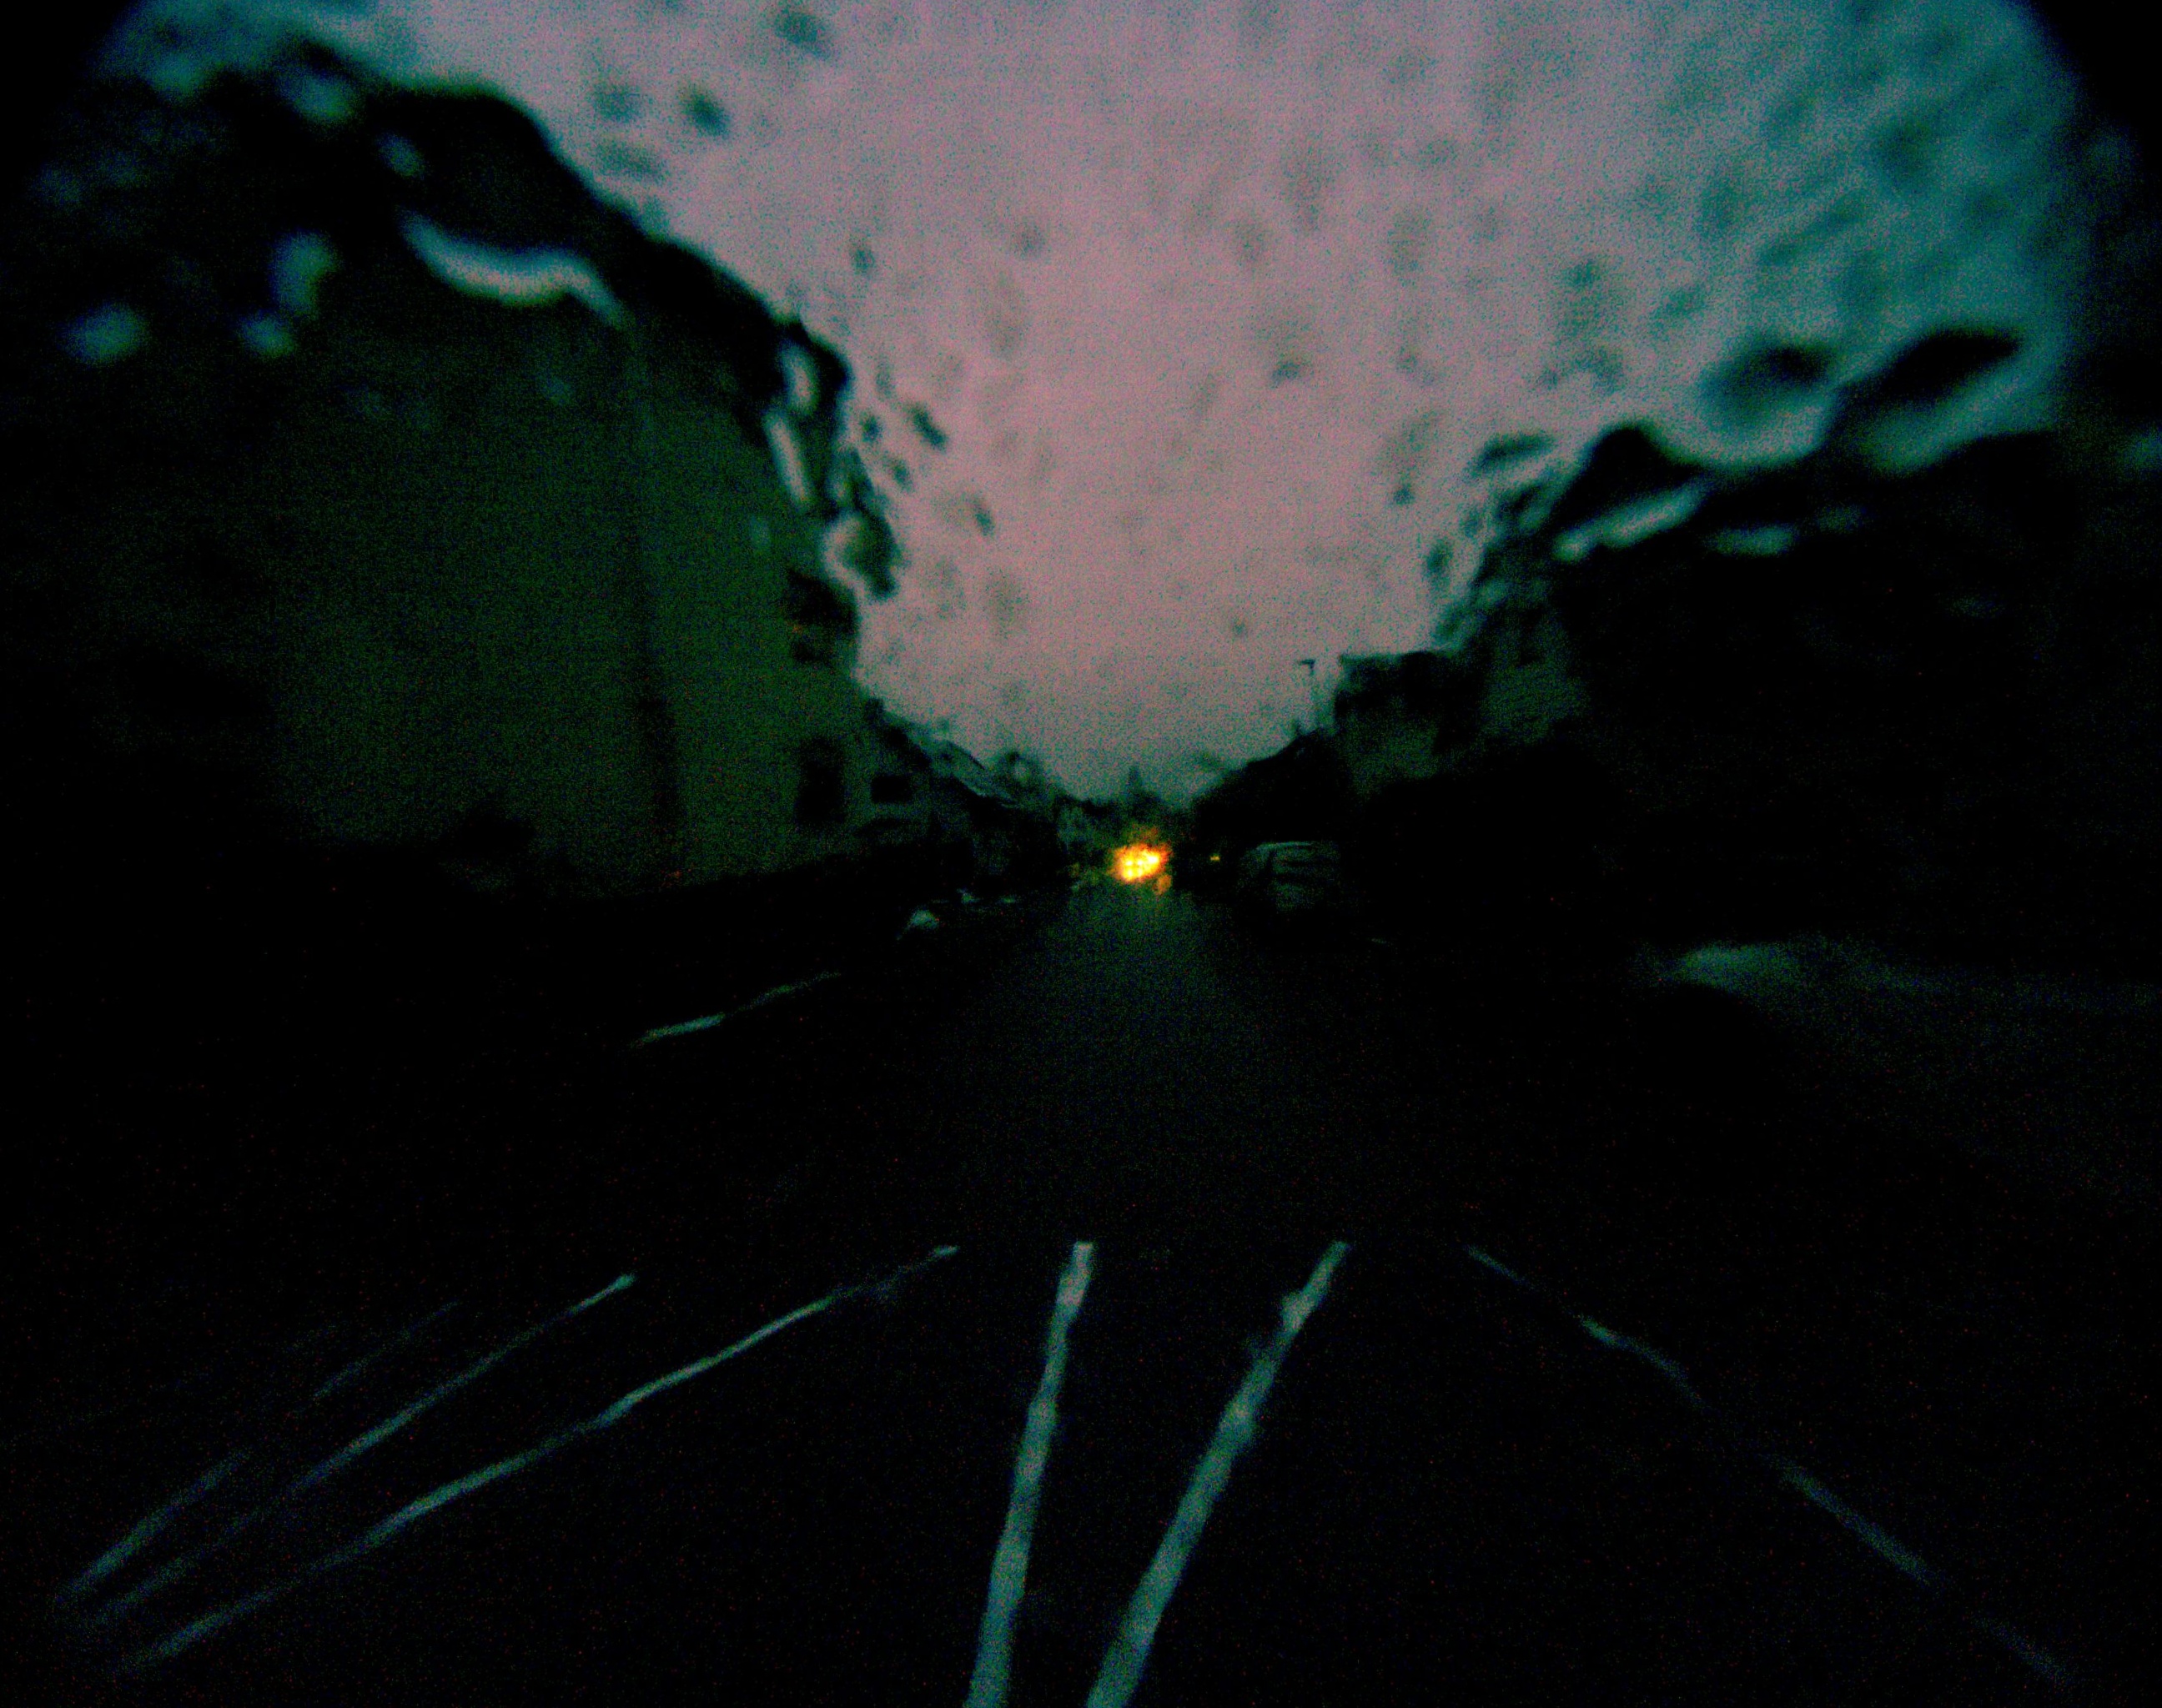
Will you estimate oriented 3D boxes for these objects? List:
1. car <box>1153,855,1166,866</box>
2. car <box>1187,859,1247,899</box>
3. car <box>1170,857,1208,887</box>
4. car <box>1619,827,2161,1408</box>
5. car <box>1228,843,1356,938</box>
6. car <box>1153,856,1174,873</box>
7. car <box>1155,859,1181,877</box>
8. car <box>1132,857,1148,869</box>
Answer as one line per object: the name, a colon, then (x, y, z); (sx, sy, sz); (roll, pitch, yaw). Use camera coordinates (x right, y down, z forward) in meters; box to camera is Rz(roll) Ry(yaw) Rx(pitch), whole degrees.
car: (12.836, 1.014, 123.752); (1.793, 1.764, 3.892); (-1, 0, 11)
car: (5.311, 0.941, 30.055); (1.829, 1.457, 4.001); (0, 0, 3)
car: (5.892, 0.952, 41.816); (1.766, 1.543, 4.001); (0, 0, 3)
car: (3.960, 0.717, 1.997); (1.923, 1.615, 4.422); (-1, 0, -1)
car: (4.408, 0.706, 16.506); (1.775, 1.782, 4.129); (-1, 0, 3)
car: (8.301, 1.045, 77.053); (1.720, 1.616, 3.730); (-1, 0, 0)
car: (7.327, 1.146, 64.316); (1.720, 1.404, 3.730); (-1, 0, 0)
car: (8.170, 1.207, 105.537); (1.755, 1.487, 4.253); (-1, 0, 11)
